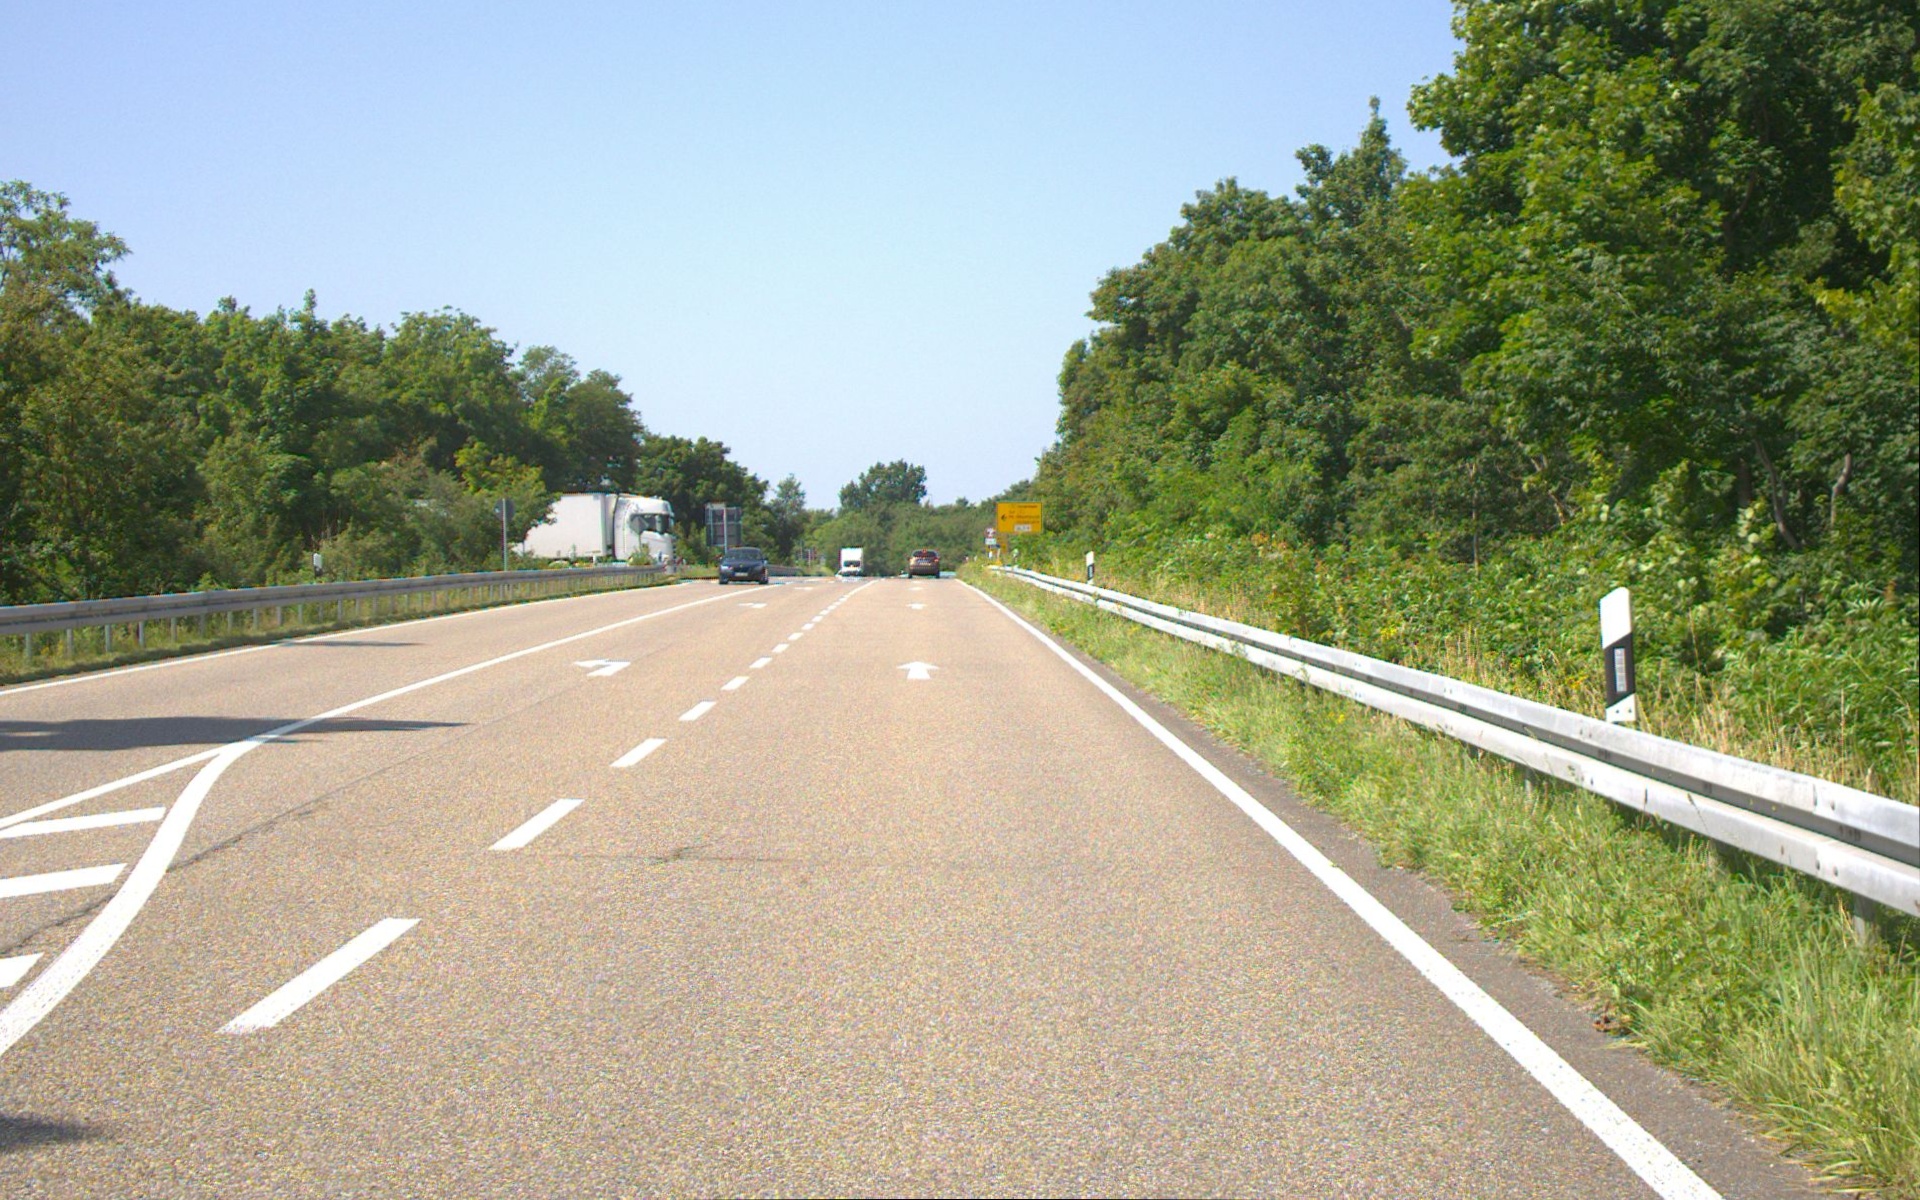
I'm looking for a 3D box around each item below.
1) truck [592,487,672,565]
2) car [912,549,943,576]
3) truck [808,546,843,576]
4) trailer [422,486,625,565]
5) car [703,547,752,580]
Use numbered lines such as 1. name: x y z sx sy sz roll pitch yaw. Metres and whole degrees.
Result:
1. truck: -15.097 -3.404 158.306 3.465 3.525 2.000 0 1 1
2. car: -1.800 -2.085 190.245 1.741 1.465 3.693 0 1 -1
3. truck: -6.629 -1.942 170.167 1.612 1.465 3.991 0 1 -1
4. trailer: -20.091 -3.438 158.435 9.102 3.566 2.000 0 1 1
5. car: -9.154 -1.433 135.502 1.730 1.263 3.905 0 1 -1
